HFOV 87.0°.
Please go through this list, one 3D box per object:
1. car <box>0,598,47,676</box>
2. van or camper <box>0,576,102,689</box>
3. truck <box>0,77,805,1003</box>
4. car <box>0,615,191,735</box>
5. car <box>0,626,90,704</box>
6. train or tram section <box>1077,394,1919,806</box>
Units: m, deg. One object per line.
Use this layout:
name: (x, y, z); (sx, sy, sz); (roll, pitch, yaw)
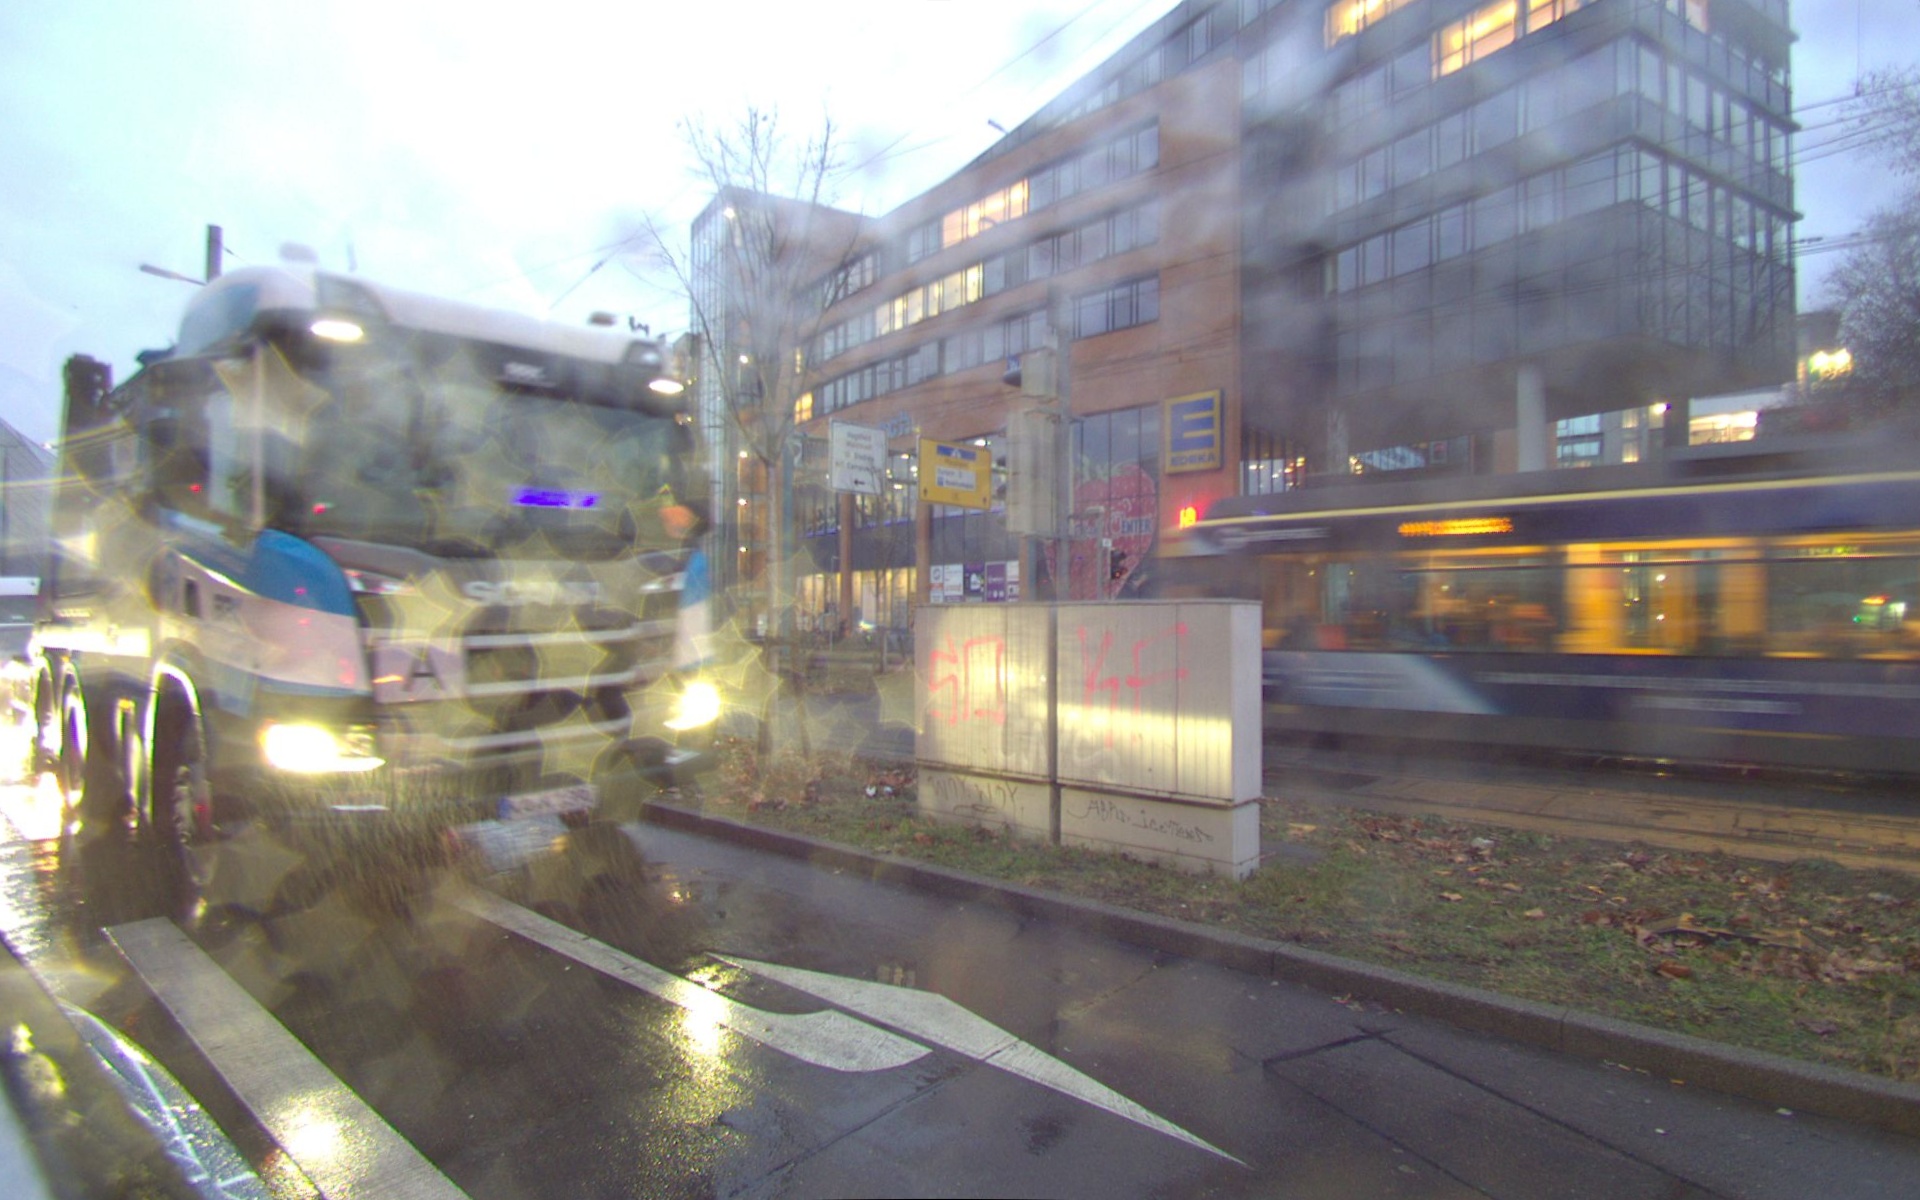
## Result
car: (-37.656, 1.434, 39.587); (5.809, 2.885, 2.102); (-1, -2, 41)
van or camper: (-23.479, 0.793, 25.317); (5.894, 2.551, 2.126); (-1, -2, 40)
truck: (-4.705, -0.173, 7.514); (7.521, 3.661, 2.810); (-1, -2, 40)
car: (-12.815, 1.026, 14.877); (3.939, 1.535, 1.613); (-2, -3, 41)
car: (-17.952, 1.180, 19.240); (4.057, 1.355, 1.735); (-1, -2, 44)
train or tram section: (10.282, 0.013, 9.290); (20.053, 3.642, 2.835); (-1, -2, 40)
